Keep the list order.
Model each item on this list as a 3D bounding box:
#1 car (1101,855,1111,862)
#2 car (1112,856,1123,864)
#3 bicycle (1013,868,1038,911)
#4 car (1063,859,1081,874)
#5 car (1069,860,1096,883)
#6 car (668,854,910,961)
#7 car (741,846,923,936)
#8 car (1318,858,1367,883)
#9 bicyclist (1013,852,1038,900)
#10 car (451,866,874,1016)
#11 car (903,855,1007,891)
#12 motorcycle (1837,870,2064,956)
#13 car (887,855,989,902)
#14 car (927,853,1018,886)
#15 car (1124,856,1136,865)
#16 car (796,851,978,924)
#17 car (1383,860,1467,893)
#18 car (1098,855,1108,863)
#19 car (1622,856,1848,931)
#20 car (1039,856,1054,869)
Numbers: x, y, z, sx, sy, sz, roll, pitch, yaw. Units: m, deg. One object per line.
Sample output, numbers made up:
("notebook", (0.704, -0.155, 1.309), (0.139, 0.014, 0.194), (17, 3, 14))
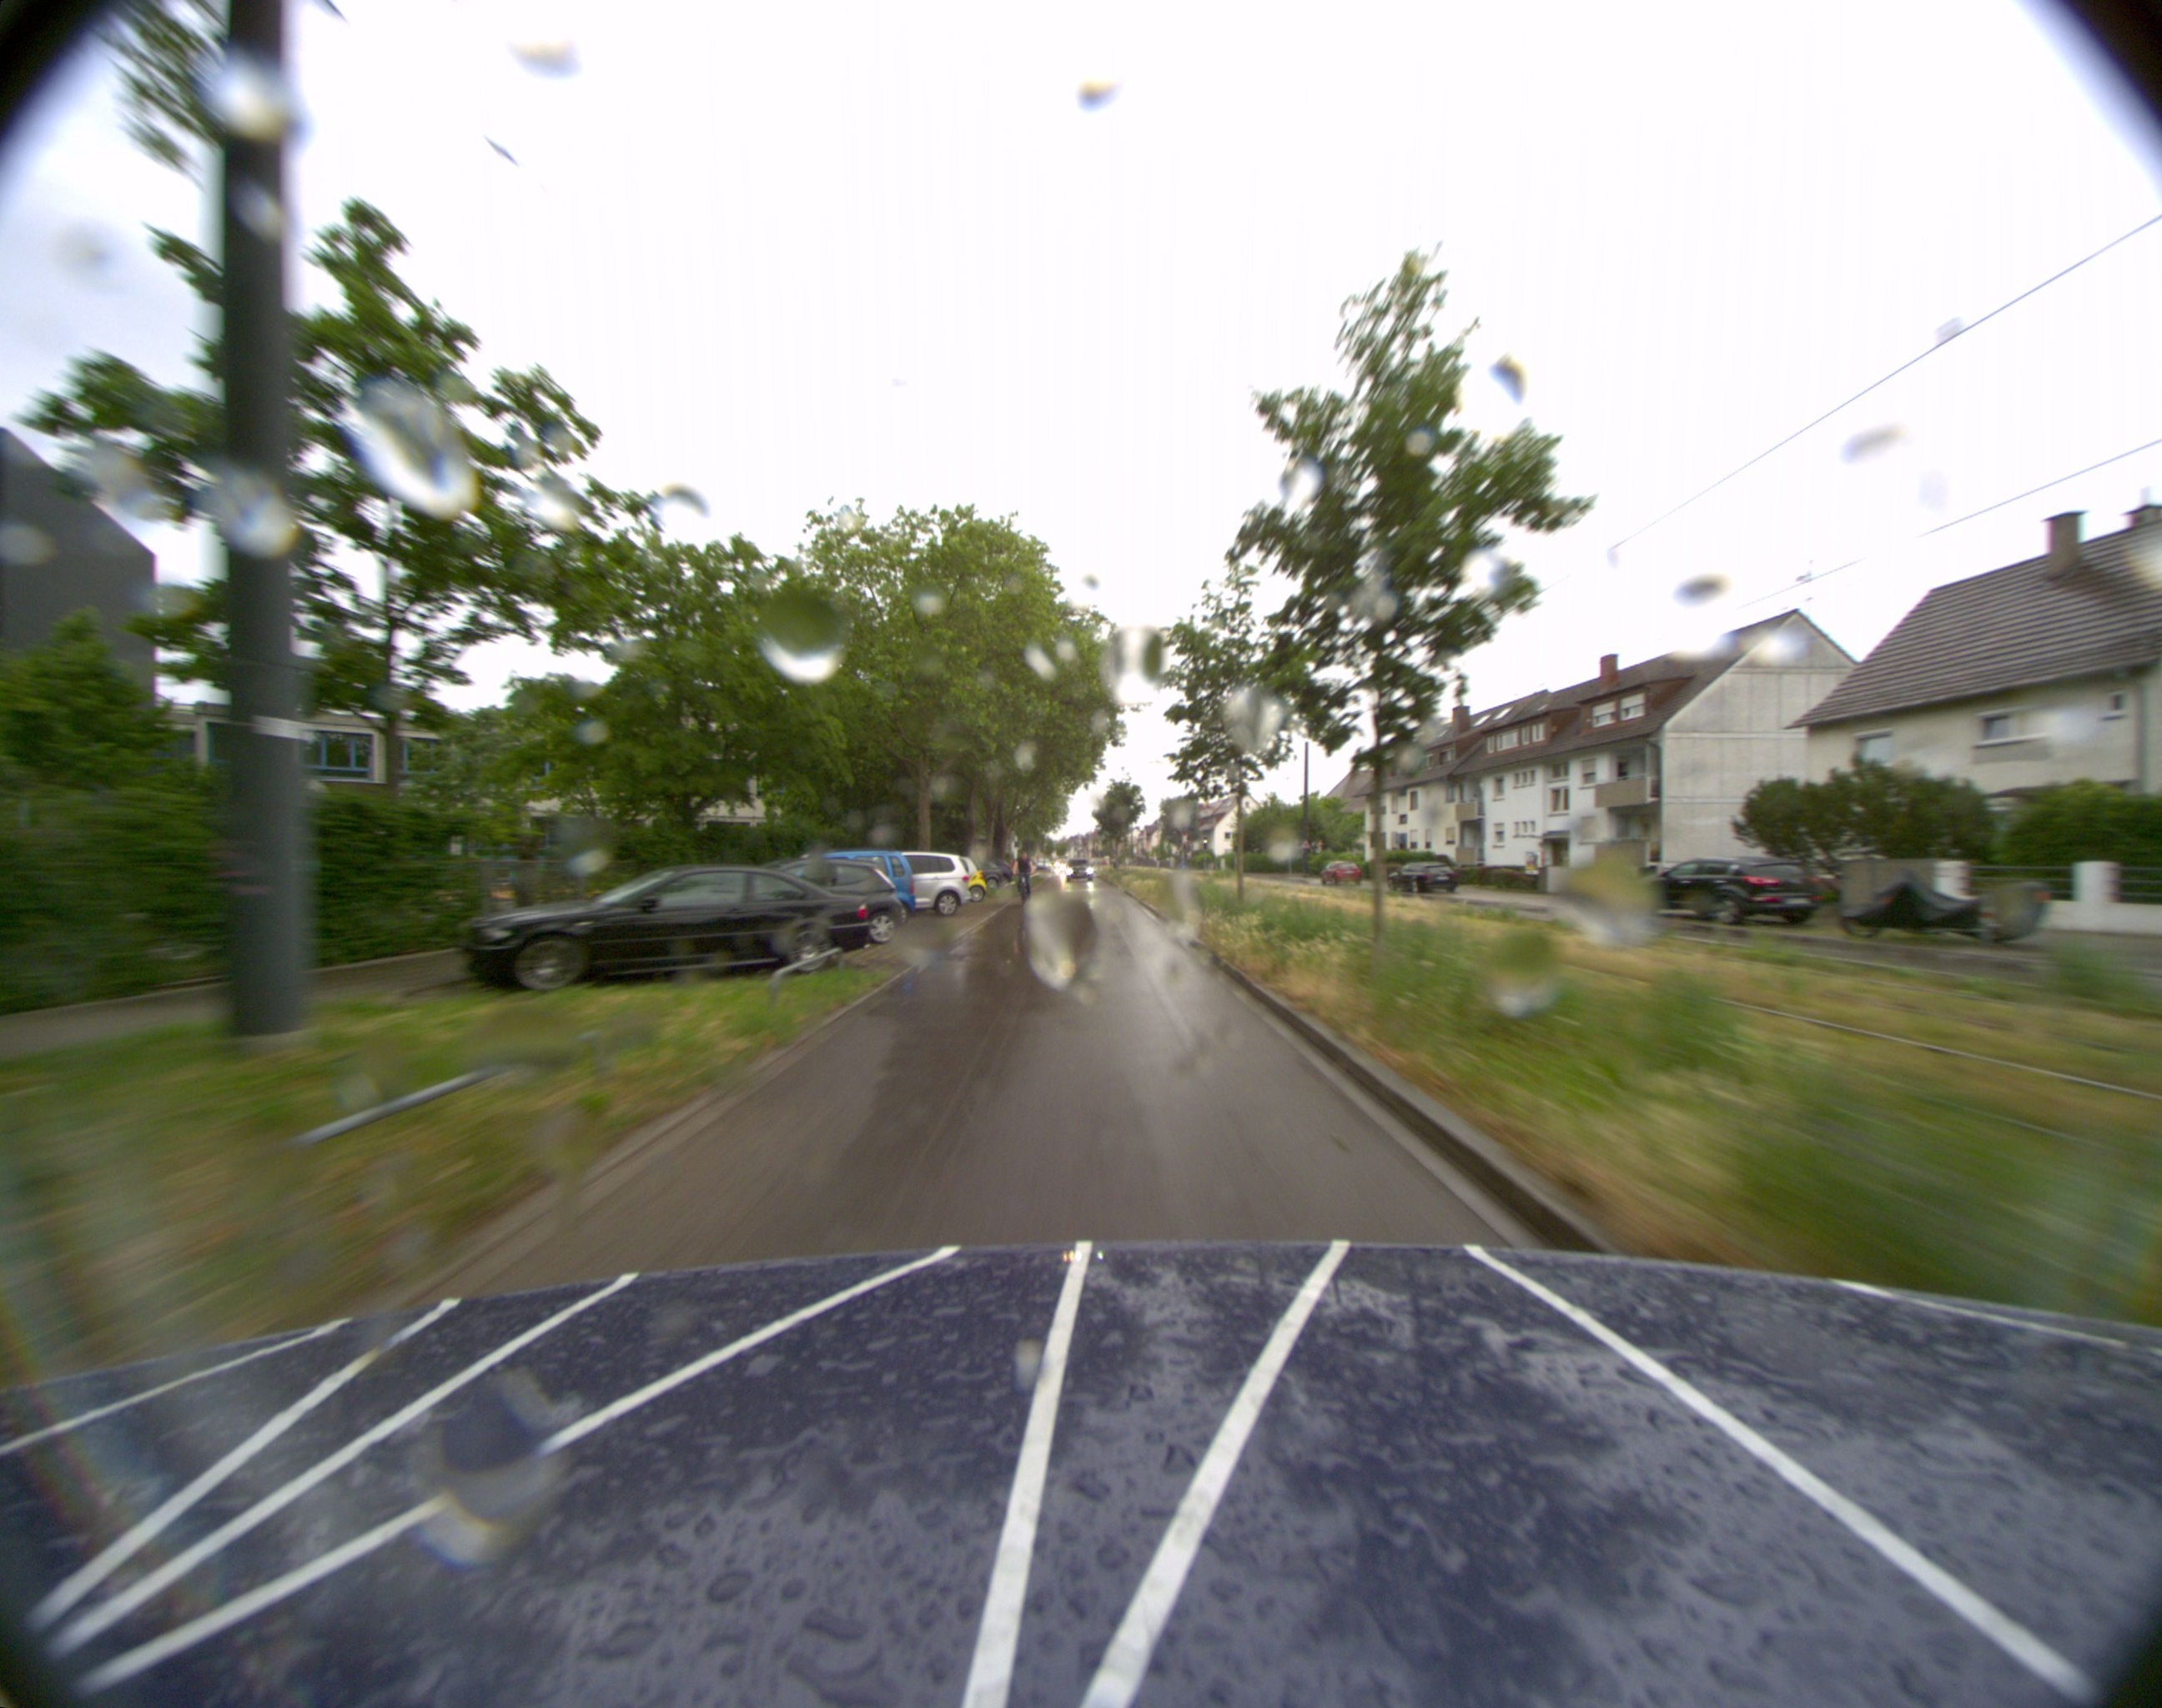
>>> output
("car", (6.875, 1.189, 209.316), (2.000, 2.002, 3.997), (0, 0, -8))
("car", (8.958, 1.512, 188.333), (2.000, 2.002, 3.997), (0, 0, -8))
("bicycle", (-1.693, 1.062, 23.446), (0.675, 1.136, 2.444), (0, 1, -2))
("car", (-0.995, 1.328, 82.285), (1.781, 1.477, 4.000), (2, 0, -1))
("car", (0.043, 1.209, 53.700), (1.781, 1.477, 4.000), (2, 0, -1))
("car", (-4.889, 0.822, 12.835), (3.412, 1.509, 1.845), (2, 1, -37))
("car", (-5.186, 0.733, 15.904), (3.281, 1.662, 1.588), (2, 1, -34))
("car", (16.388, 1.026, 47.757), (1.802, 1.448, 4.001), (-2, 0, 2))
("bicyclist", (-1.713, 0.667, 23.469), (0.675, 1.421, 0.753), (-3, 1, -1))
("car", (-4.979, 0.877, 9.404), (4.314, 1.376, 1.736), (0, 0, -39))
("car", (-5.410, 0.825, 32.857), (4.071, 1.410, 1.737), (2, 1, -36))
("motorcycle", (16.232, 1.043, 14.363), (2.680, 1.403, 1.269), (0, 2, 42))
("car", (-4.742, 0.810, 25.197), (2.910, 1.458, 1.600), (2, 1, -29))
("car", (-5.145, 0.745, 36.208), (3.812, 1.523, 1.878), (2, -1, -33))
("car", (10.827, 1.431, 167.006), (2.000, 2.002, 3.998), (0, 0, -6))
("car", (-4.771, 0.763, 18.941), (4.056, 1.631, 1.649), (1, 1, -38))
("car", (16.378, 1.022, 36.456), (1.998, 1.402, 4.762), (-2, 0, 2))
("car", (6.222, 1.411, 214.653), (2.000, 2.002, 3.997), (0, 0, -8))
("car", (16.566, 0.903, 19.622), (1.999, 1.665, 4.386), (-1, 0, -2))
("car", (-4.316, 1.086, 95.277), (1.781, 1.477, 4.000), (2, 0, -1))
